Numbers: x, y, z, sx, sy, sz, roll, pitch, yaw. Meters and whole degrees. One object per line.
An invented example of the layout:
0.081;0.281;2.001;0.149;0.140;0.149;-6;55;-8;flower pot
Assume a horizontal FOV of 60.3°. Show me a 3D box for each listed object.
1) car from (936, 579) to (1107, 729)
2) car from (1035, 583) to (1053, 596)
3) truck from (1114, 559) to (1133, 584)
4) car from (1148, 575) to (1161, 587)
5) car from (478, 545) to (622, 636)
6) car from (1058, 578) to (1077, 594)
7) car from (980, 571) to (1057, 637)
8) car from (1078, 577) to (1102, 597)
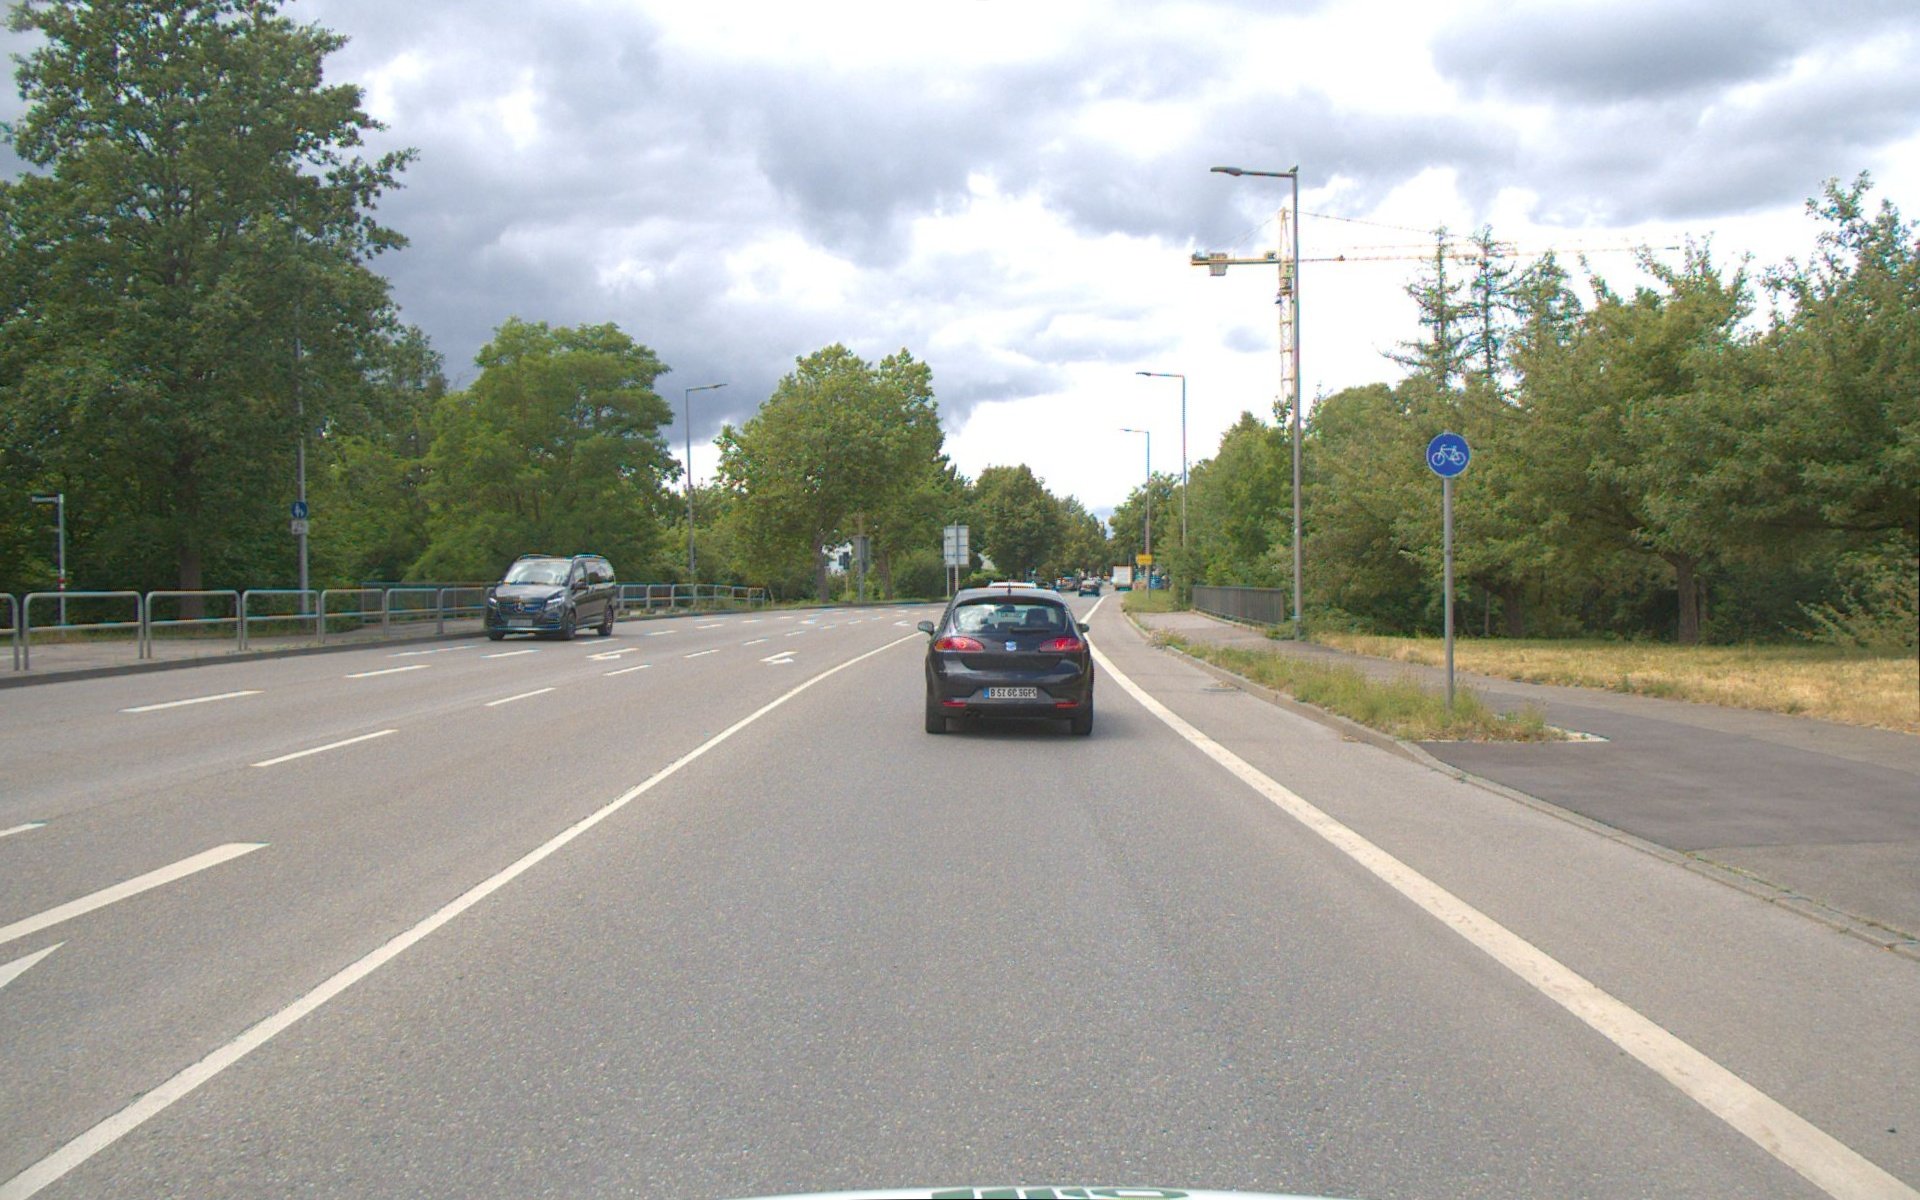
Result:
0.580;0.500;17.798;1.629;1.426;3.811;1;1;0;car
9.837;-1.231;193.042;1.681;1.419;4.805;-3;0;8;car
21.618;-3.742;217.902;2.230;3.158;8.517;1;0;7;truck
25.269;-2.525;214.821;1.652;1.516;3.358;-1;1;8;car
-9.533;-0.255;38.940;1.976;1.981;5.365;0;1;1;car
14.450;-1.903;222.005;2.055;1.929;5.789;-3;0;8;car
1.441;0.083;40.966;1.808;1.536;3.813;1;1;1;car
11.607;-1.203;147.528;1.841;1.718;4.217;-1;1;8;car
